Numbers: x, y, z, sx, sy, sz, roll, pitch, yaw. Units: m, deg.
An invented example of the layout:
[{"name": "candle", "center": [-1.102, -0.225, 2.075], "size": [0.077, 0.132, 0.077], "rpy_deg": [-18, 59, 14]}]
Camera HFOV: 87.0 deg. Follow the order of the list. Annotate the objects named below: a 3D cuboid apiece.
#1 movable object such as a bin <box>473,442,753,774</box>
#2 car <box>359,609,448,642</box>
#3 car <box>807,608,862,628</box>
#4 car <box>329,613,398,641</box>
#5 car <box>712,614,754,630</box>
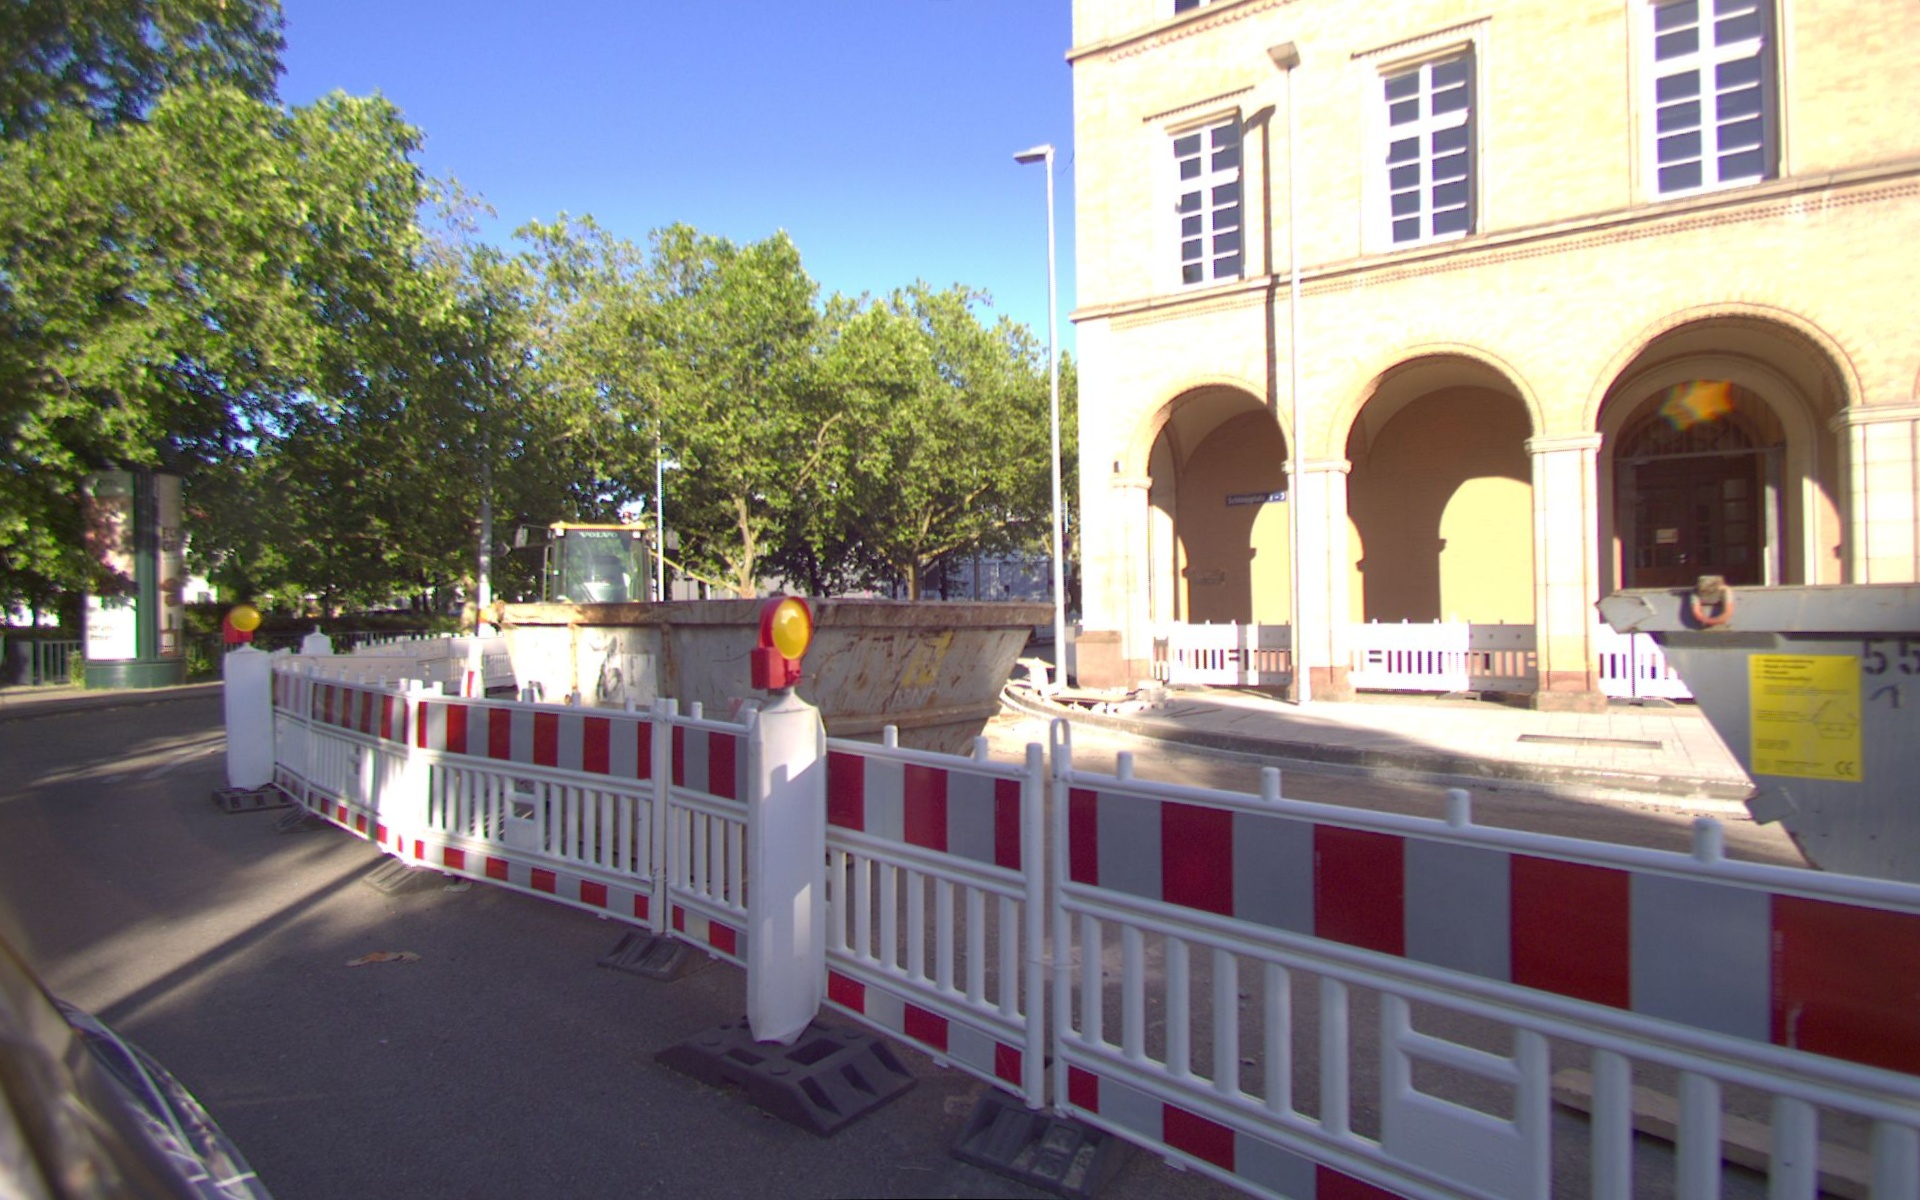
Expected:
[{"name": "movable object such as a bin", "center": [-4.156, 0.086, 12.515], "size": [2.523, 3.054, 5.949], "rpy_deg": [0, 0, -17]}, {"name": "car", "center": [-29.884, 1.352, 54.433], "size": [1.546, 1.638, 3.960], "rpy_deg": [-3, -2, 29]}, {"name": "car", "center": [-11.625, 1.670, 93.601], "size": [4.696, 1.842, 2.090], "rpy_deg": [-1, -1, 27]}, {"name": "car", "center": [-44.379, 1.983, 75.368], "size": [1.915, 1.961, 4.007], "rpy_deg": [-3, -2, 27]}, {"name": "car", "center": [-21.996, 2.104, 98.037], "size": [3.831, 1.496, 1.615], "rpy_deg": [-1, -1, 27]}]
